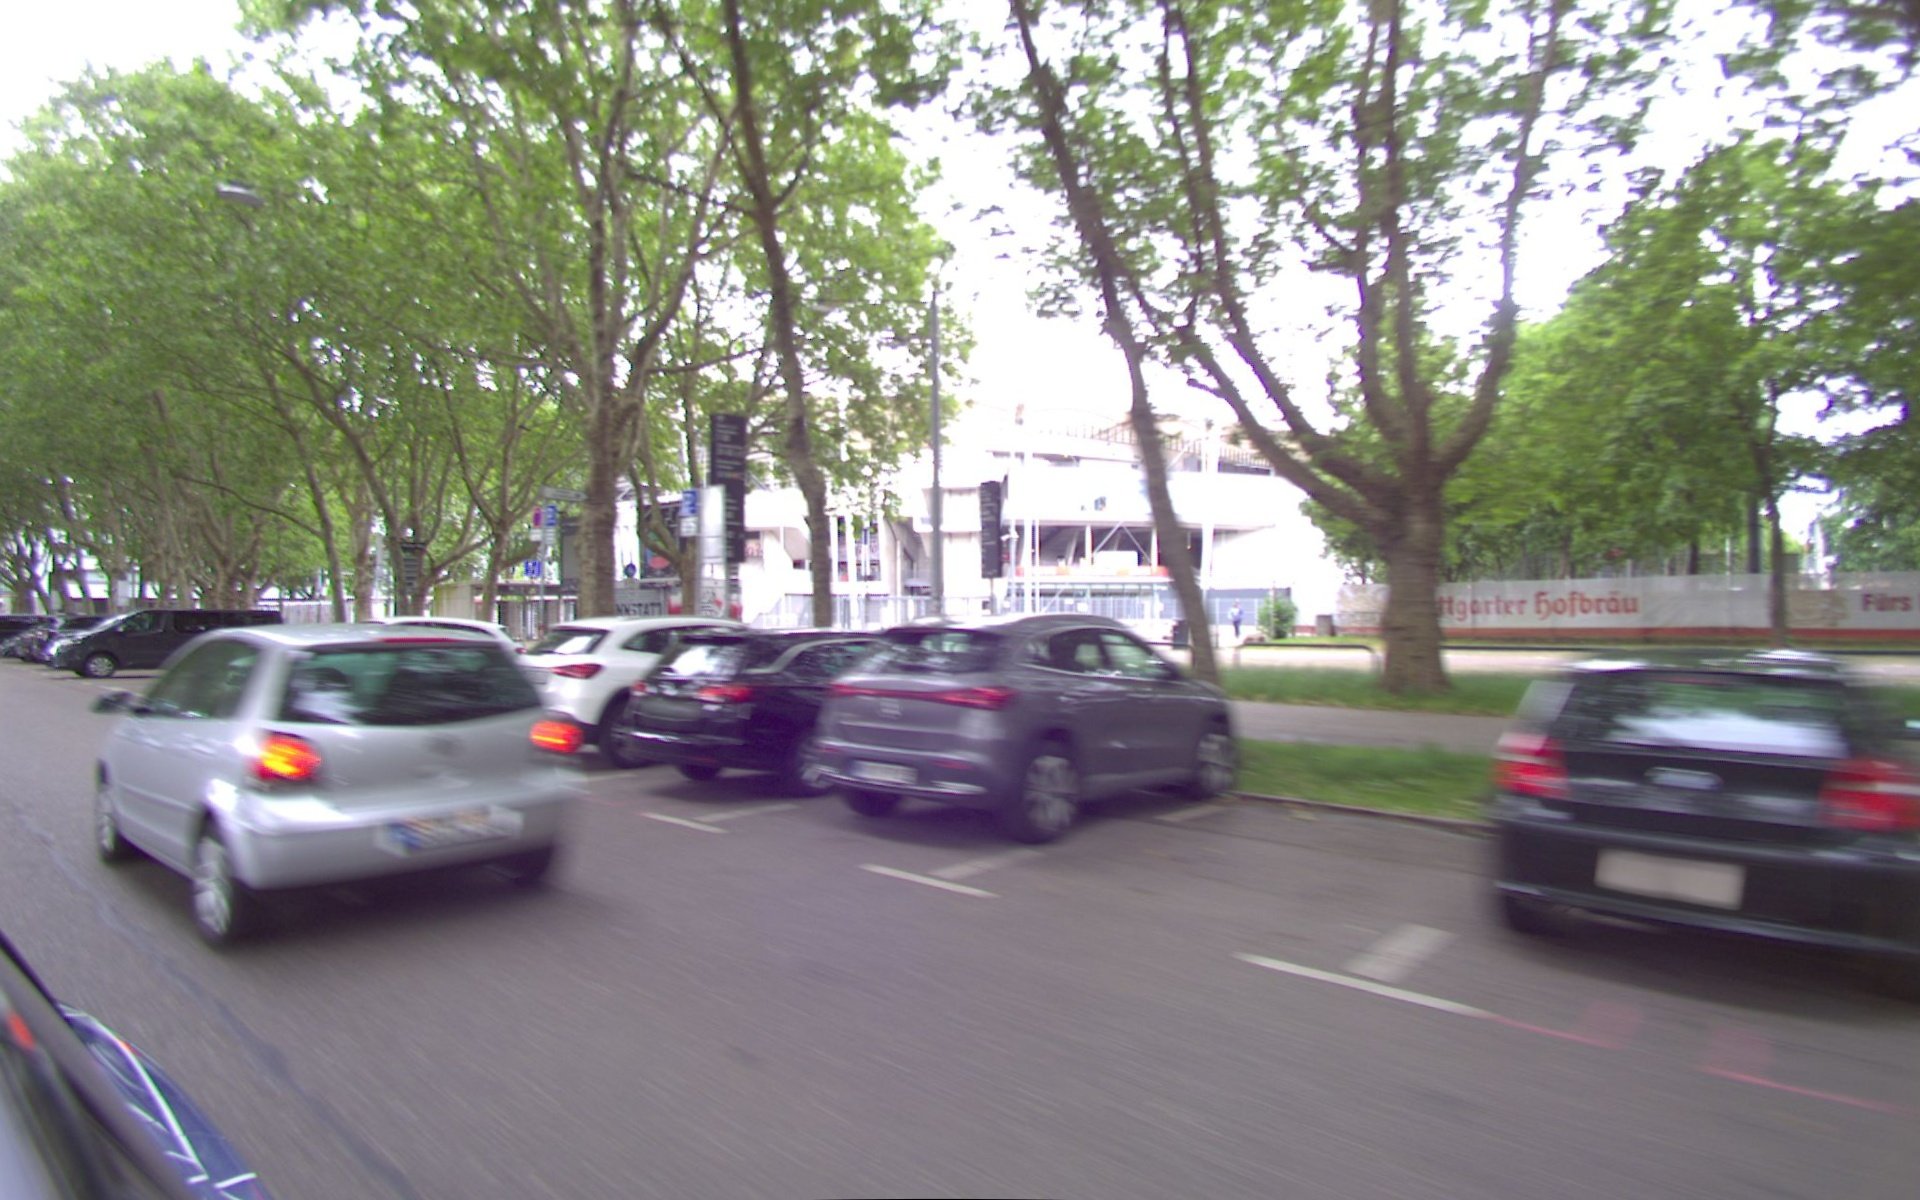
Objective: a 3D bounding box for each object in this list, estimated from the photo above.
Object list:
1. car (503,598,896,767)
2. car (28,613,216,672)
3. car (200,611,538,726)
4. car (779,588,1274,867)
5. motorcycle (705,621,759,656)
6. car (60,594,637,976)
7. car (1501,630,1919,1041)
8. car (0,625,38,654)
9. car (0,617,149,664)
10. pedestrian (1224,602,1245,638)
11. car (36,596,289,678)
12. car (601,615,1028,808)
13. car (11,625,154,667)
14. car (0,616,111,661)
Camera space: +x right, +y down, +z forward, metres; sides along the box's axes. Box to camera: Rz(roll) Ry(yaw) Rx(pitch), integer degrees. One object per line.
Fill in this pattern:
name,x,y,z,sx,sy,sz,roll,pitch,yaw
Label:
car,-2.986,0.941,12.390,1.998,1.680,4.297,-1,-4,39
car,-28.043,1.463,33.994,1.806,1.834,4.602,-3,-5,43
car,-9.498,1.060,16.560,1.998,1.609,4.336,-1,-3,39
car,0.815,0.888,8.431,1.998,1.680,4.297,-1,-4,39
motorcycle,-7.664,1.276,34.089,0.740,1.151,1.637,-1,-2,44
car,-3.683,0.777,5.835,3.836,1.482,1.672,-1,-3,40
car,4.229,0.922,5.372,1.681,1.424,3.947,-1,-4,39
car,-56.384,2.283,58.519,1.758,1.630,4.466,-2,-2,43
car,-35.794,1.679,40.826,1.798,1.795,4.529,-3,-4,43
pedestrian,13.523,0.969,49.855,0.764,1.737,0.651,-1,0,40
car,-22.729,1.102,29.083,1.938,2.144,5.381,-2,-4,39
car,-1.217,0.970,9.936,1.841,1.487,3.947,-1,-4,39
car,-33.586,1.765,38.824,1.752,1.505,3.858,-1,-3,39
car,-41.645,1.744,45.668,2.207,1.939,4.853,-2,-3,42
